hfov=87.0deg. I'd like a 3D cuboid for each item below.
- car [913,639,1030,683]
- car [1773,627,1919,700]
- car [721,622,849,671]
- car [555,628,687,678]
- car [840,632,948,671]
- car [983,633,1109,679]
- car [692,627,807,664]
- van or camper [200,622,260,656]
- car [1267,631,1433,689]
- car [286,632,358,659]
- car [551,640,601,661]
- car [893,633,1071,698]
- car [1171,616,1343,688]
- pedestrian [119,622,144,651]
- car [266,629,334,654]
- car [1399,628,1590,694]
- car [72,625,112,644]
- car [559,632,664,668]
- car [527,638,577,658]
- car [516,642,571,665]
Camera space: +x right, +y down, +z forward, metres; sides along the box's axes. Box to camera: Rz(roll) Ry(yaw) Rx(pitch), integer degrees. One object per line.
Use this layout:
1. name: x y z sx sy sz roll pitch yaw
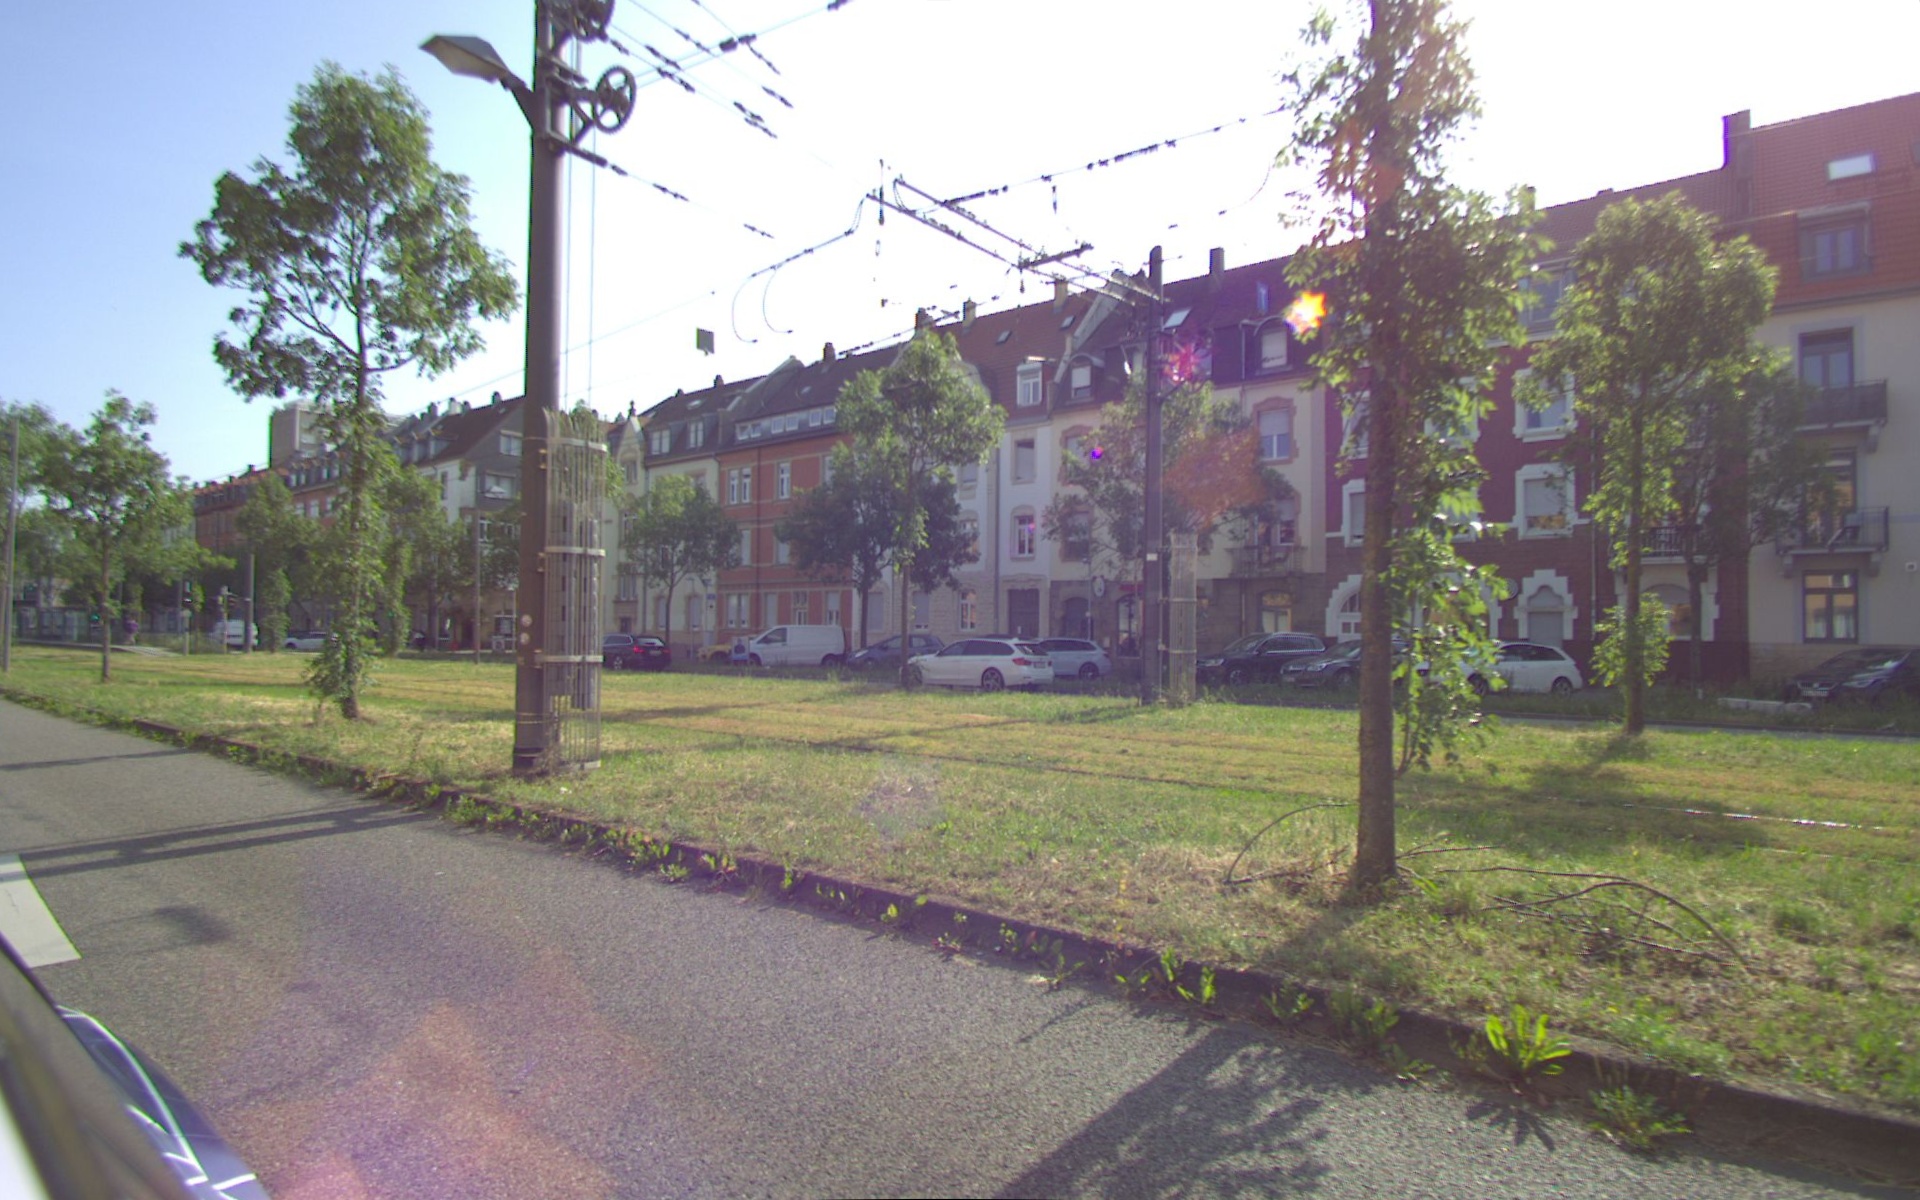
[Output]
1. car: 0.370 2.037 34.374 3.624 1.250 1.667 -1 2 -17
2. car: 18.587 1.242 20.644 3.623 1.251 1.668 -1 0 -25
3. car: -7.101 1.835 40.933 4.868 1.739 1.862 -1 0 -17
4. car: -12.806 1.926 38.066 5.369 1.642 1.976 0 0 36
5. car: -2.395 1.841 36.565 3.624 1.251 1.530 -1 -2 -17
6. car: 2.742 1.771 32.378 3.624 1.251 1.667 -1 0 -17
7. car: -8.918 1.891 42.857 4.620 1.358 1.862 -1 0 -17
8. van or camper: -49.422 2.626 68.496 5.346 2.113 1.933 0 0 39
9. car: 9.859 1.493 25.630 3.624 1.251 1.667 -1 0 -17
10. car: -45.891 3.241 72.863 3.932 1.739 2.006 -1 0 -16
11. car: -28.402 3.687 74.749 3.996 1.423 1.651 0 -3 39
12. car: 0.540 1.713 27.559 4.642 1.470 1.929 0 1 39
13. car: 8.322 1.379 28.285 4.568 1.756 1.840 -1 0 -27
14. pedestrian: -49.208 2.176 60.117 0.850 1.667 0.876 0 -2 35
15. car: -50.191 3.129 77.053 3.932 1.739 2.006 -1 0 -16
16. car: 12.651 1.401 24.000 3.946 1.326 1.667 -1 0 -17
17. car: -76.005 2.982 88.612 4.572 1.544 1.816 0 -1 39
18. car: -16.891 2.382 49.144 4.695 1.496 2.029 -1 0 -19
19. car: -29.614 3.474 73.387 3.996 1.309 1.651 0 -2 39
20. car: -33.417 4.237 81.262 1.603 1.595 3.776 0 1 40
